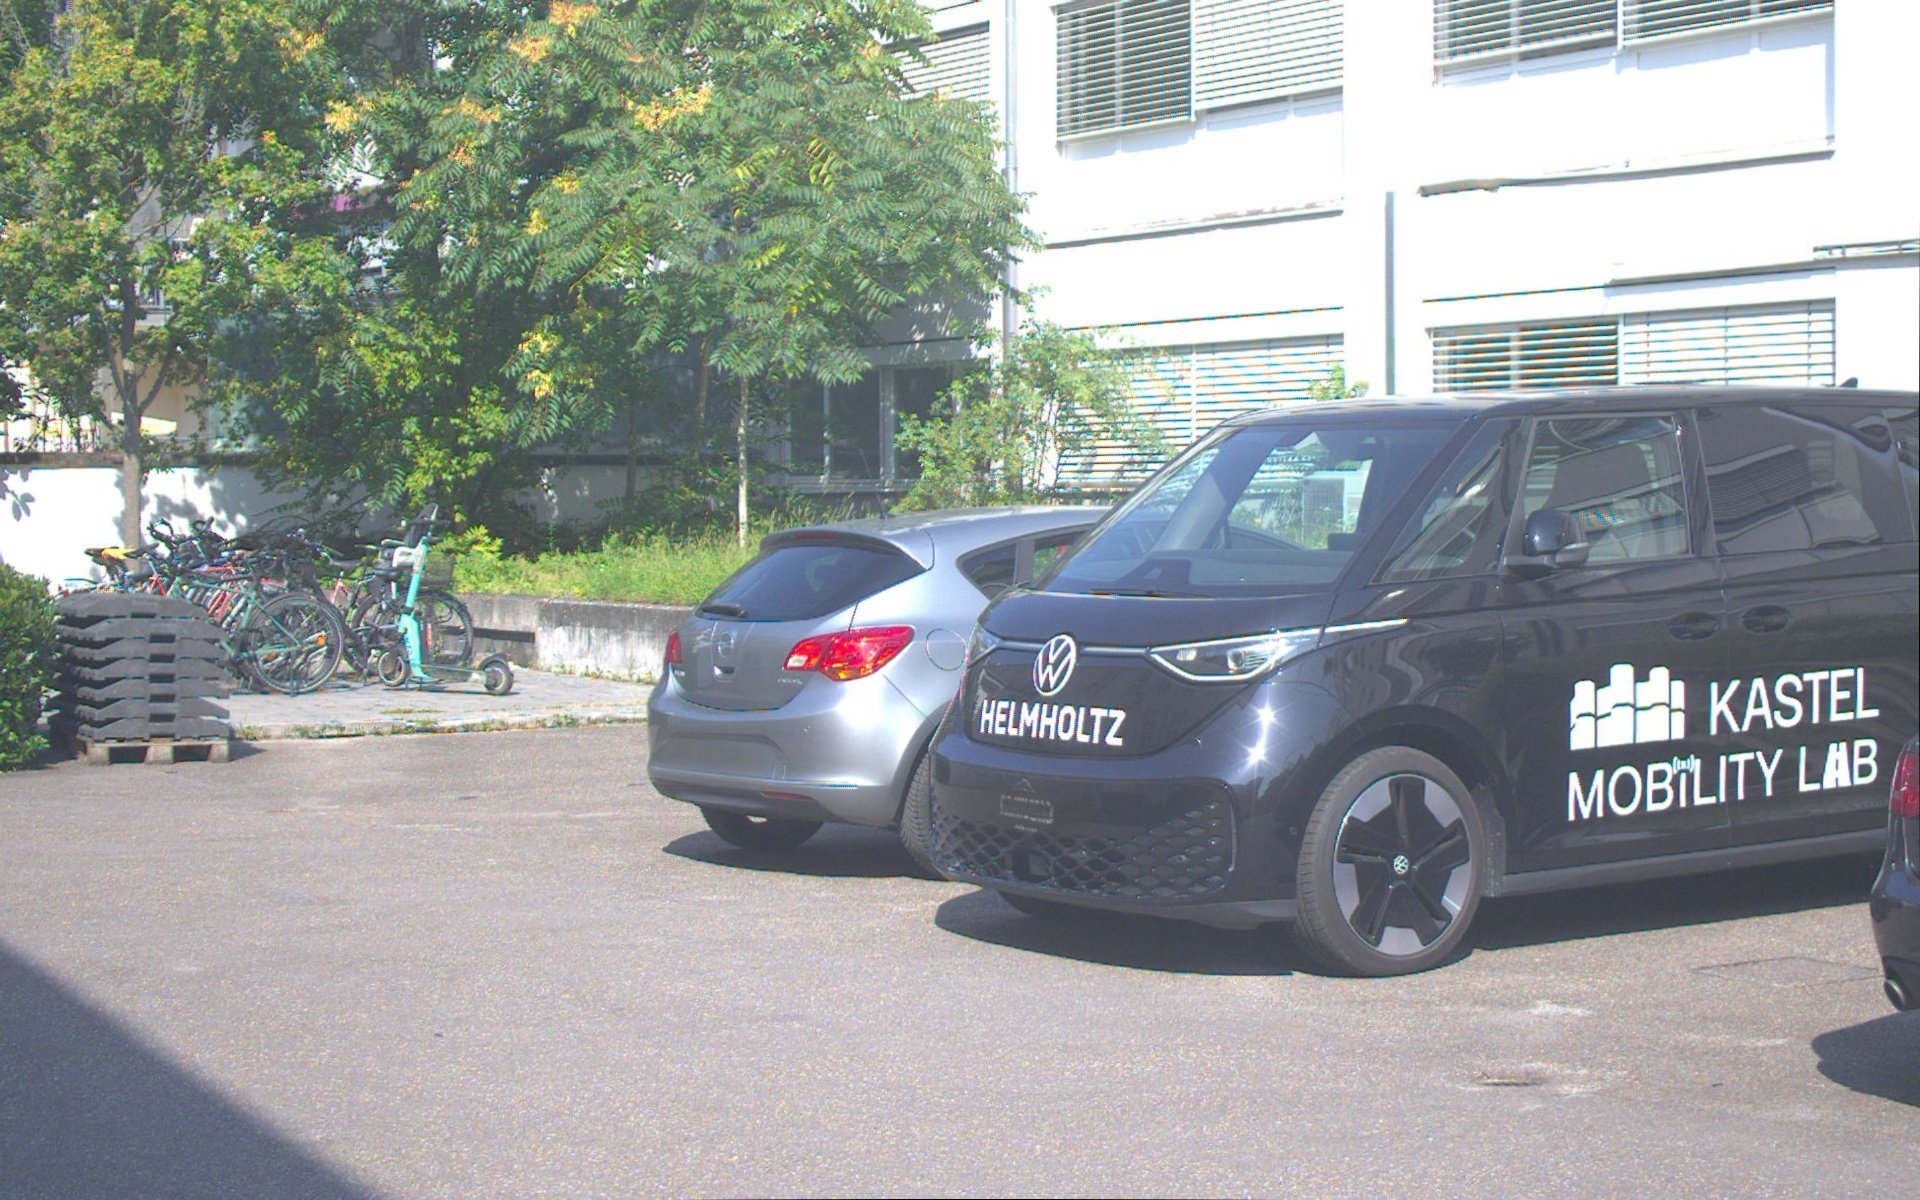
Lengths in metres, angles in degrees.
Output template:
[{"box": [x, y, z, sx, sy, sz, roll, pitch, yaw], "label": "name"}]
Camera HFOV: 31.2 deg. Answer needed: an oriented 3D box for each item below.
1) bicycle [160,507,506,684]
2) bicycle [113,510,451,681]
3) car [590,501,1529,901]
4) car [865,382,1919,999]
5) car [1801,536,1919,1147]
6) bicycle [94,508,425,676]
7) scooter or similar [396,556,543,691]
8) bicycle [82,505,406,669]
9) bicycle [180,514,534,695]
[{"box": [-4.548, -0.038, 24.991, 2.410, 1.242, 0.526, 0, 2, -25], "label": "bicycle"}, {"box": [-5.055, -0.038, 25.686, 2.410, 1.242, 0.526, 0, 2, -25], "label": "bicycle"}, {"box": [0.506, 0.330, 14.850, 3.897, 1.461, 1.662, -2, 3, -38], "label": "car"}, {"box": [1.998, 0.188, 12.328, 4.335, 1.852, 1.915, -2, 3, -35], "label": "car"}, {"box": [4.346, 0.550, 8.673, 4.232, 1.432, 1.691, -1, 3, -27], "label": "car"}, {"box": [-5.344, -0.064, 26.282, 2.410, 1.242, 0.526, 0, 2, -25], "label": "bicycle"}, {"box": [-3.474, 0.158, 24.331, 0.998, 0.921, 0.360, 2, 2, 27], "label": "scooter or similar"}, {"box": [-5.580, -0.108, 26.858, 2.410, 1.242, 0.526, 0, 2, -25], "label": "bicycle"}, {"box": [-4.263, 0.026, 24.378, 2.410, 1.242, 0.526, 0, 2, -25], "label": "bicycle"}]
